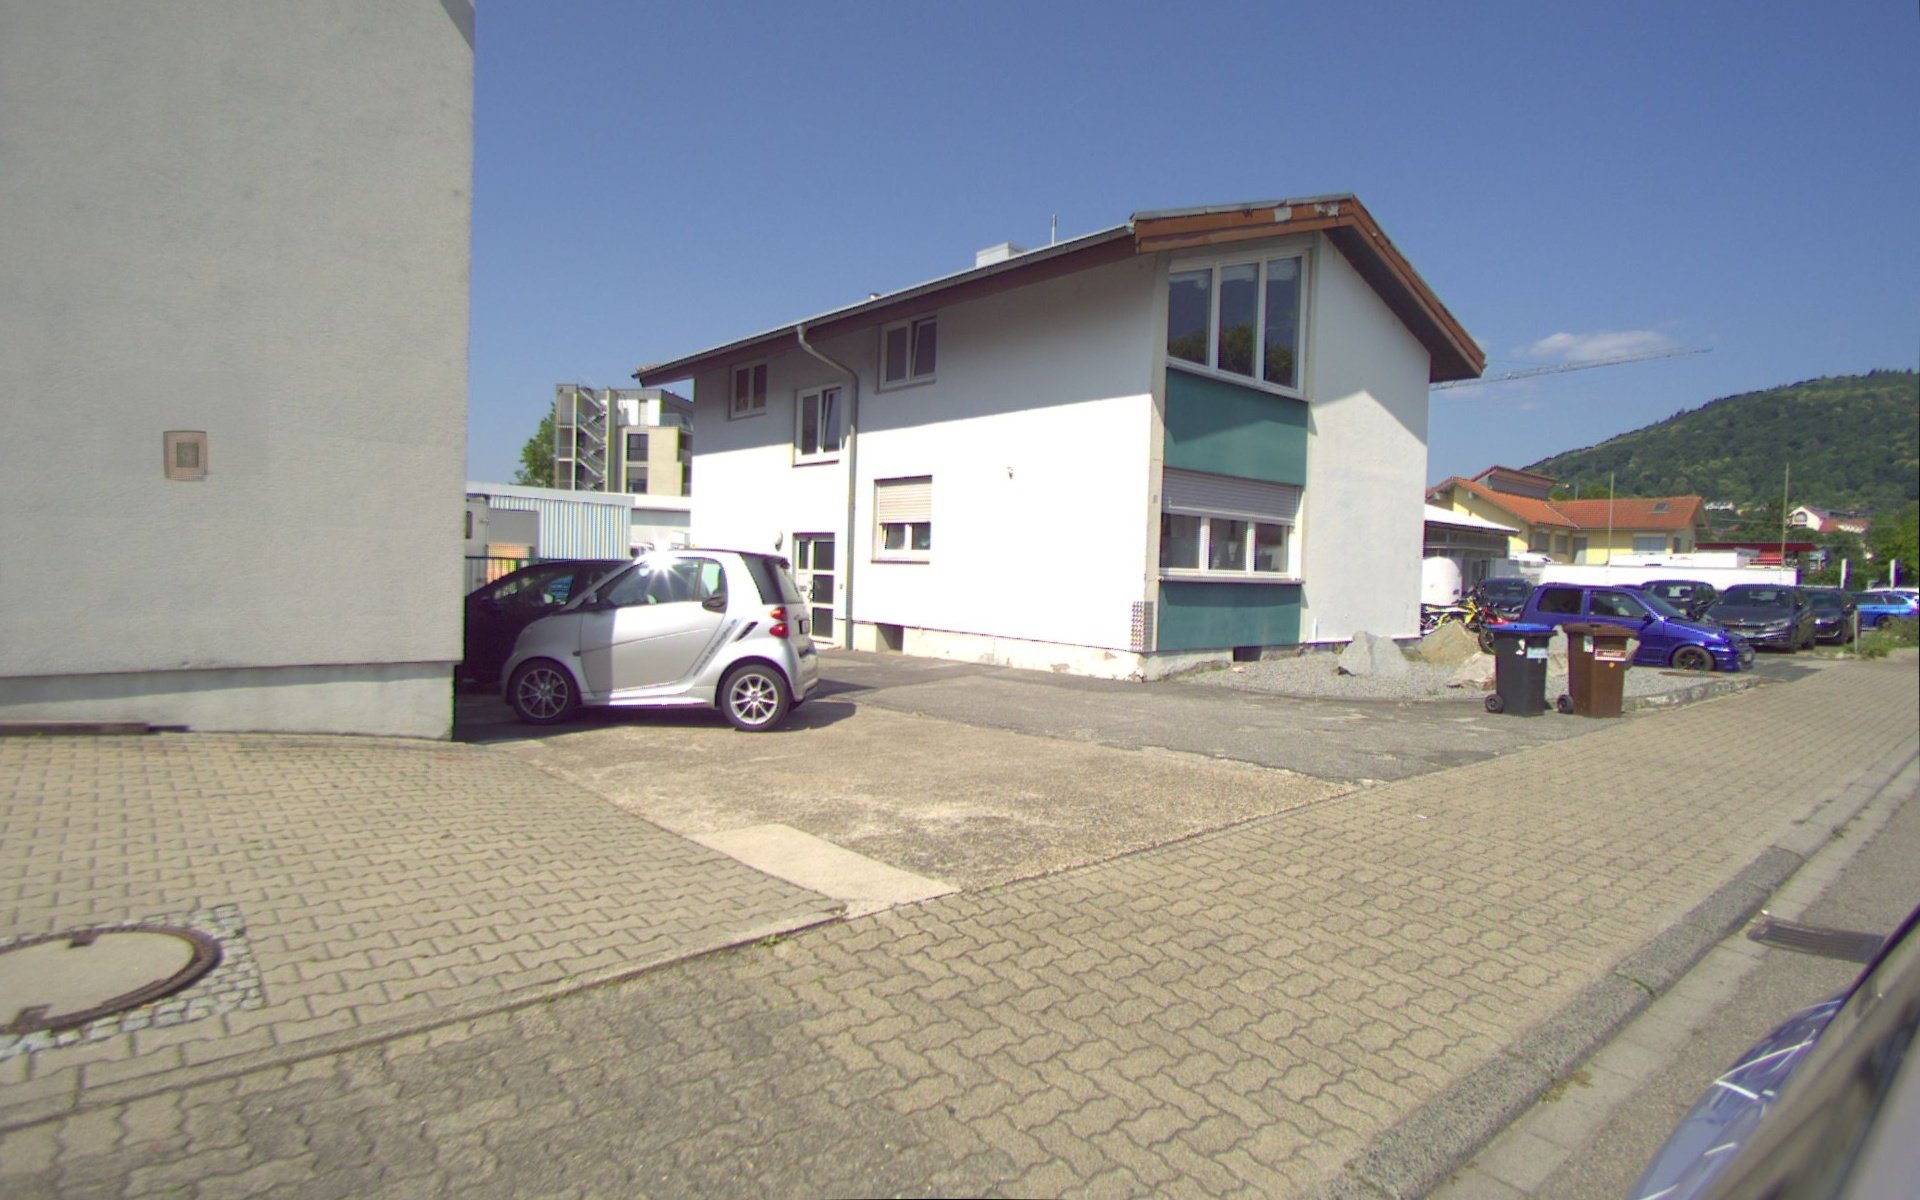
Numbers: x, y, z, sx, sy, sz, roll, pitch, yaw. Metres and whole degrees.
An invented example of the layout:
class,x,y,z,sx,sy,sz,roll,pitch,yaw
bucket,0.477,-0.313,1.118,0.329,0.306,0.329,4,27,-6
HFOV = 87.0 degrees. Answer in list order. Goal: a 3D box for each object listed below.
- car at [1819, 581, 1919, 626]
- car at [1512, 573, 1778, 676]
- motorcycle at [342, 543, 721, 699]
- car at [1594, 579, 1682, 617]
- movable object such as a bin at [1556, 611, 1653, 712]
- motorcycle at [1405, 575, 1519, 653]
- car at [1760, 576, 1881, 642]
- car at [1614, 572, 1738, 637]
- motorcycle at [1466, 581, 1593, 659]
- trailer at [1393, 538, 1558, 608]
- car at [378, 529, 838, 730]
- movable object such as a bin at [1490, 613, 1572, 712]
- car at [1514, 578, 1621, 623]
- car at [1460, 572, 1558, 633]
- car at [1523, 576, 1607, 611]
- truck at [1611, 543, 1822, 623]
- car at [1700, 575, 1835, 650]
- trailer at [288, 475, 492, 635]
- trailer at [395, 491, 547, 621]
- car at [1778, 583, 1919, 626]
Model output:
class,x,y,z,sx,sy,sz,roll,pitch,yaw
car,37.465,0.131,40.673,1.736,1.703,4.206,-1,-1,-41
car,11.138,0.343,16.602,1.643,1.416,3.260,2,2,-40
motorcycle,-4.715,0.184,11.503,3.541,1.510,1.779,2,2,1
car,29.085,-0.130,43.380,4.111,1.459,1.892,-1,4,-38
movable object such as a bin,6.556,0.619,10.317,0.546,0.957,0.570,2,2,-7
motorcycle,9.273,0.239,18.773,1.733,1.295,0.792,3,3,19
car,23.658,0.194,27.762,4.866,1.587,1.861,0,3,-42
car,19.498,0.106,27.519,3.552,1.614,1.765,0,2,-38
motorcycle,10.658,0.336,18.989,0.783,1.295,1.872,0,4,-43
trailer,30.731,-1.715,60.758,3.010,3.910,8.364,-1,3,-35
car,-3.078,0.207,9.396,3.633,1.558,1.779,2,2,1
movable object such as a bin,5.852,0.626,10.381,0.478,0.957,0.516,1,2,-29
car,19.751,-0.005,32.857,4.026,1.340,1.646,0,3,-39
car,15.646,0.012,28.765,1.757,1.514,4.093,5,4,38
car,27.238,-0.301,45.558,3.953,1.409,1.892,-1,4,-38
truck,35.336,-0.707,47.570,2.482,3.466,7.531,-1,0,-40
car,19.379,0.243,24.232,4.219,1.577,1.815,0,3,-42
trailer,-11.540,-0.905,20.426,4.114,2.909,2.021,3,1,36
trailer,-12.051,-1.064,24.826,4.126,2.909,2.015,3,1,44
car,32.963,0.135,37.110,1.859,1.459,4.360,0,1,-41
